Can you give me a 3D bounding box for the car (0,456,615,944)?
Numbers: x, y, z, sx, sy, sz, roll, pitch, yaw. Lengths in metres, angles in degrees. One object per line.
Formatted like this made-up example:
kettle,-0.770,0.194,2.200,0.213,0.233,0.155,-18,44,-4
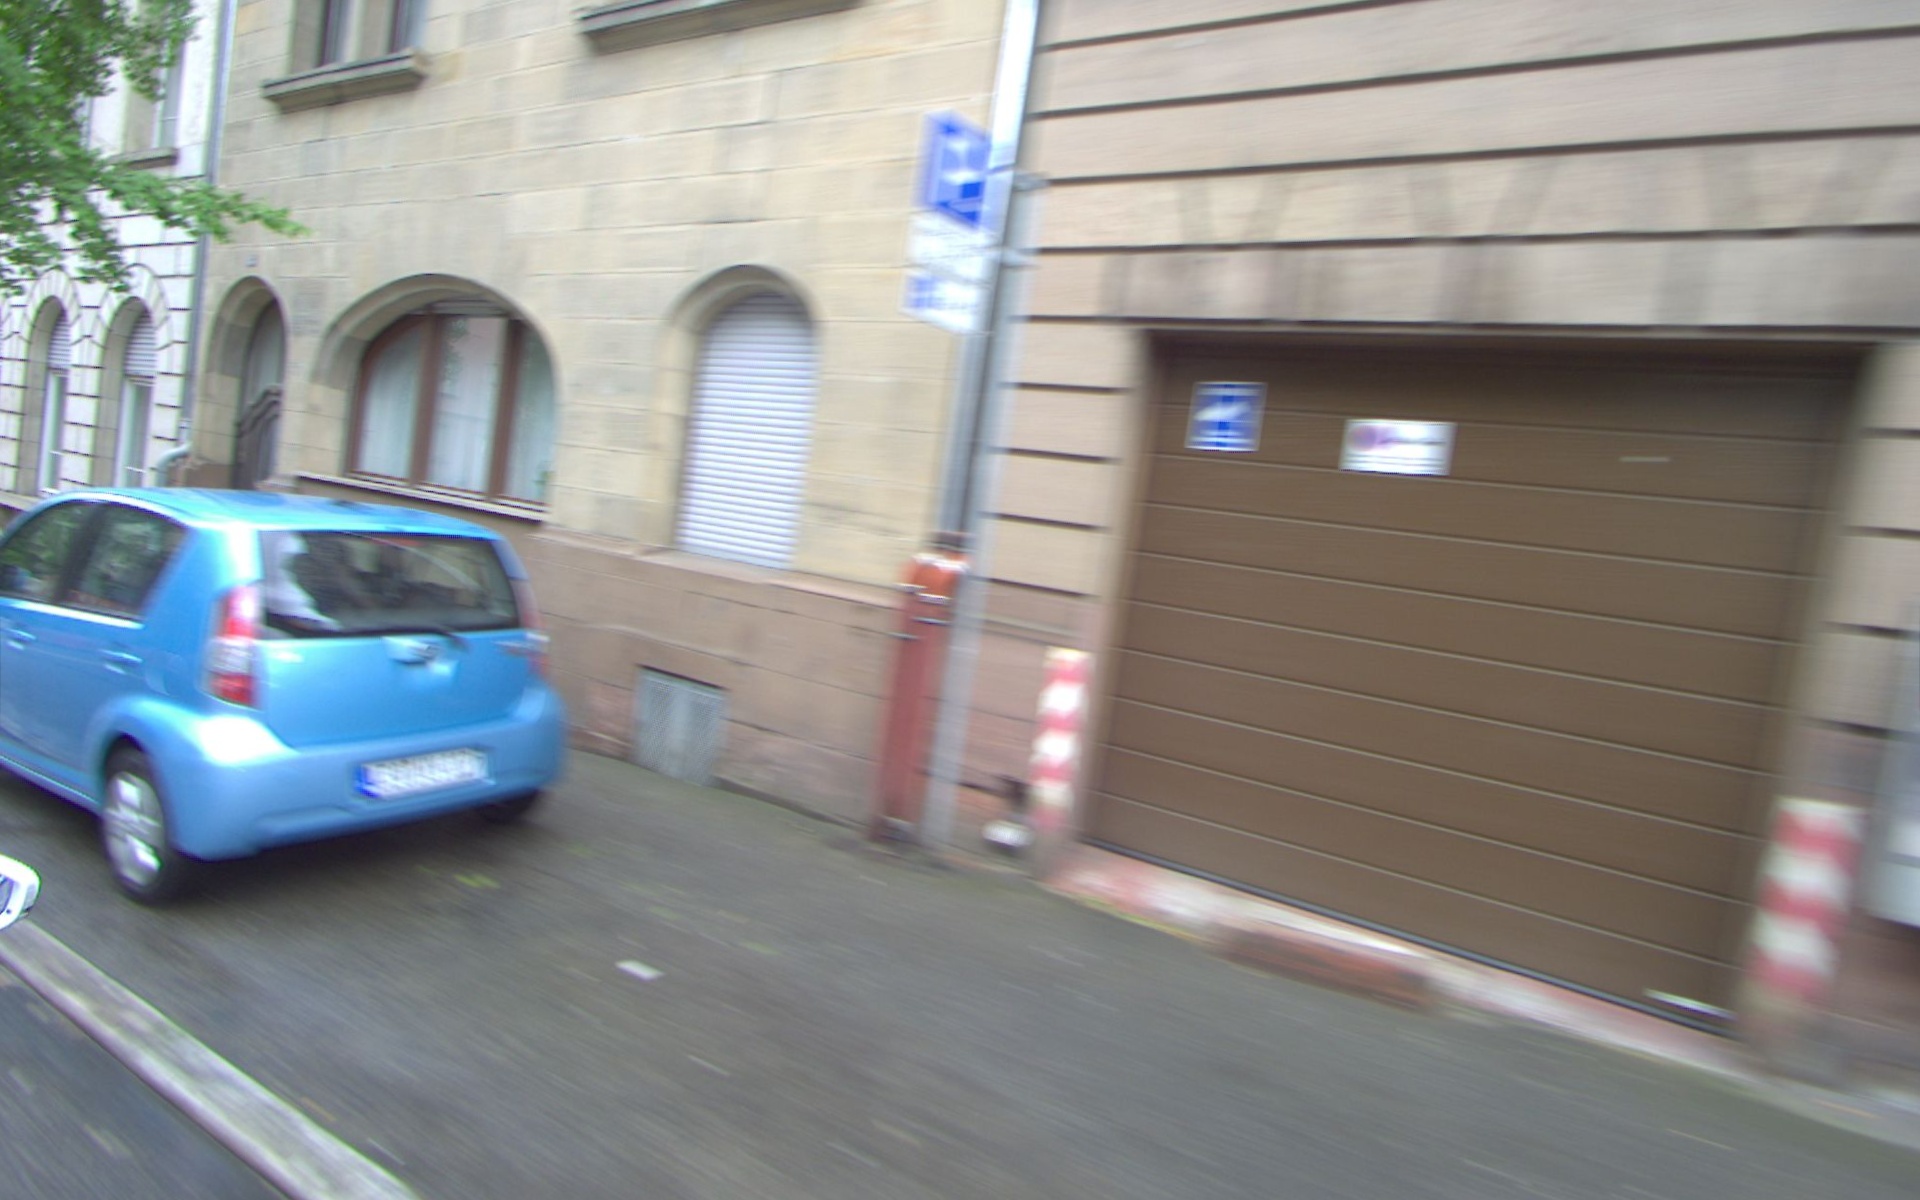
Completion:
car,-3.639,0.201,4.948,3.603,1.564,1.657,7,3,31
